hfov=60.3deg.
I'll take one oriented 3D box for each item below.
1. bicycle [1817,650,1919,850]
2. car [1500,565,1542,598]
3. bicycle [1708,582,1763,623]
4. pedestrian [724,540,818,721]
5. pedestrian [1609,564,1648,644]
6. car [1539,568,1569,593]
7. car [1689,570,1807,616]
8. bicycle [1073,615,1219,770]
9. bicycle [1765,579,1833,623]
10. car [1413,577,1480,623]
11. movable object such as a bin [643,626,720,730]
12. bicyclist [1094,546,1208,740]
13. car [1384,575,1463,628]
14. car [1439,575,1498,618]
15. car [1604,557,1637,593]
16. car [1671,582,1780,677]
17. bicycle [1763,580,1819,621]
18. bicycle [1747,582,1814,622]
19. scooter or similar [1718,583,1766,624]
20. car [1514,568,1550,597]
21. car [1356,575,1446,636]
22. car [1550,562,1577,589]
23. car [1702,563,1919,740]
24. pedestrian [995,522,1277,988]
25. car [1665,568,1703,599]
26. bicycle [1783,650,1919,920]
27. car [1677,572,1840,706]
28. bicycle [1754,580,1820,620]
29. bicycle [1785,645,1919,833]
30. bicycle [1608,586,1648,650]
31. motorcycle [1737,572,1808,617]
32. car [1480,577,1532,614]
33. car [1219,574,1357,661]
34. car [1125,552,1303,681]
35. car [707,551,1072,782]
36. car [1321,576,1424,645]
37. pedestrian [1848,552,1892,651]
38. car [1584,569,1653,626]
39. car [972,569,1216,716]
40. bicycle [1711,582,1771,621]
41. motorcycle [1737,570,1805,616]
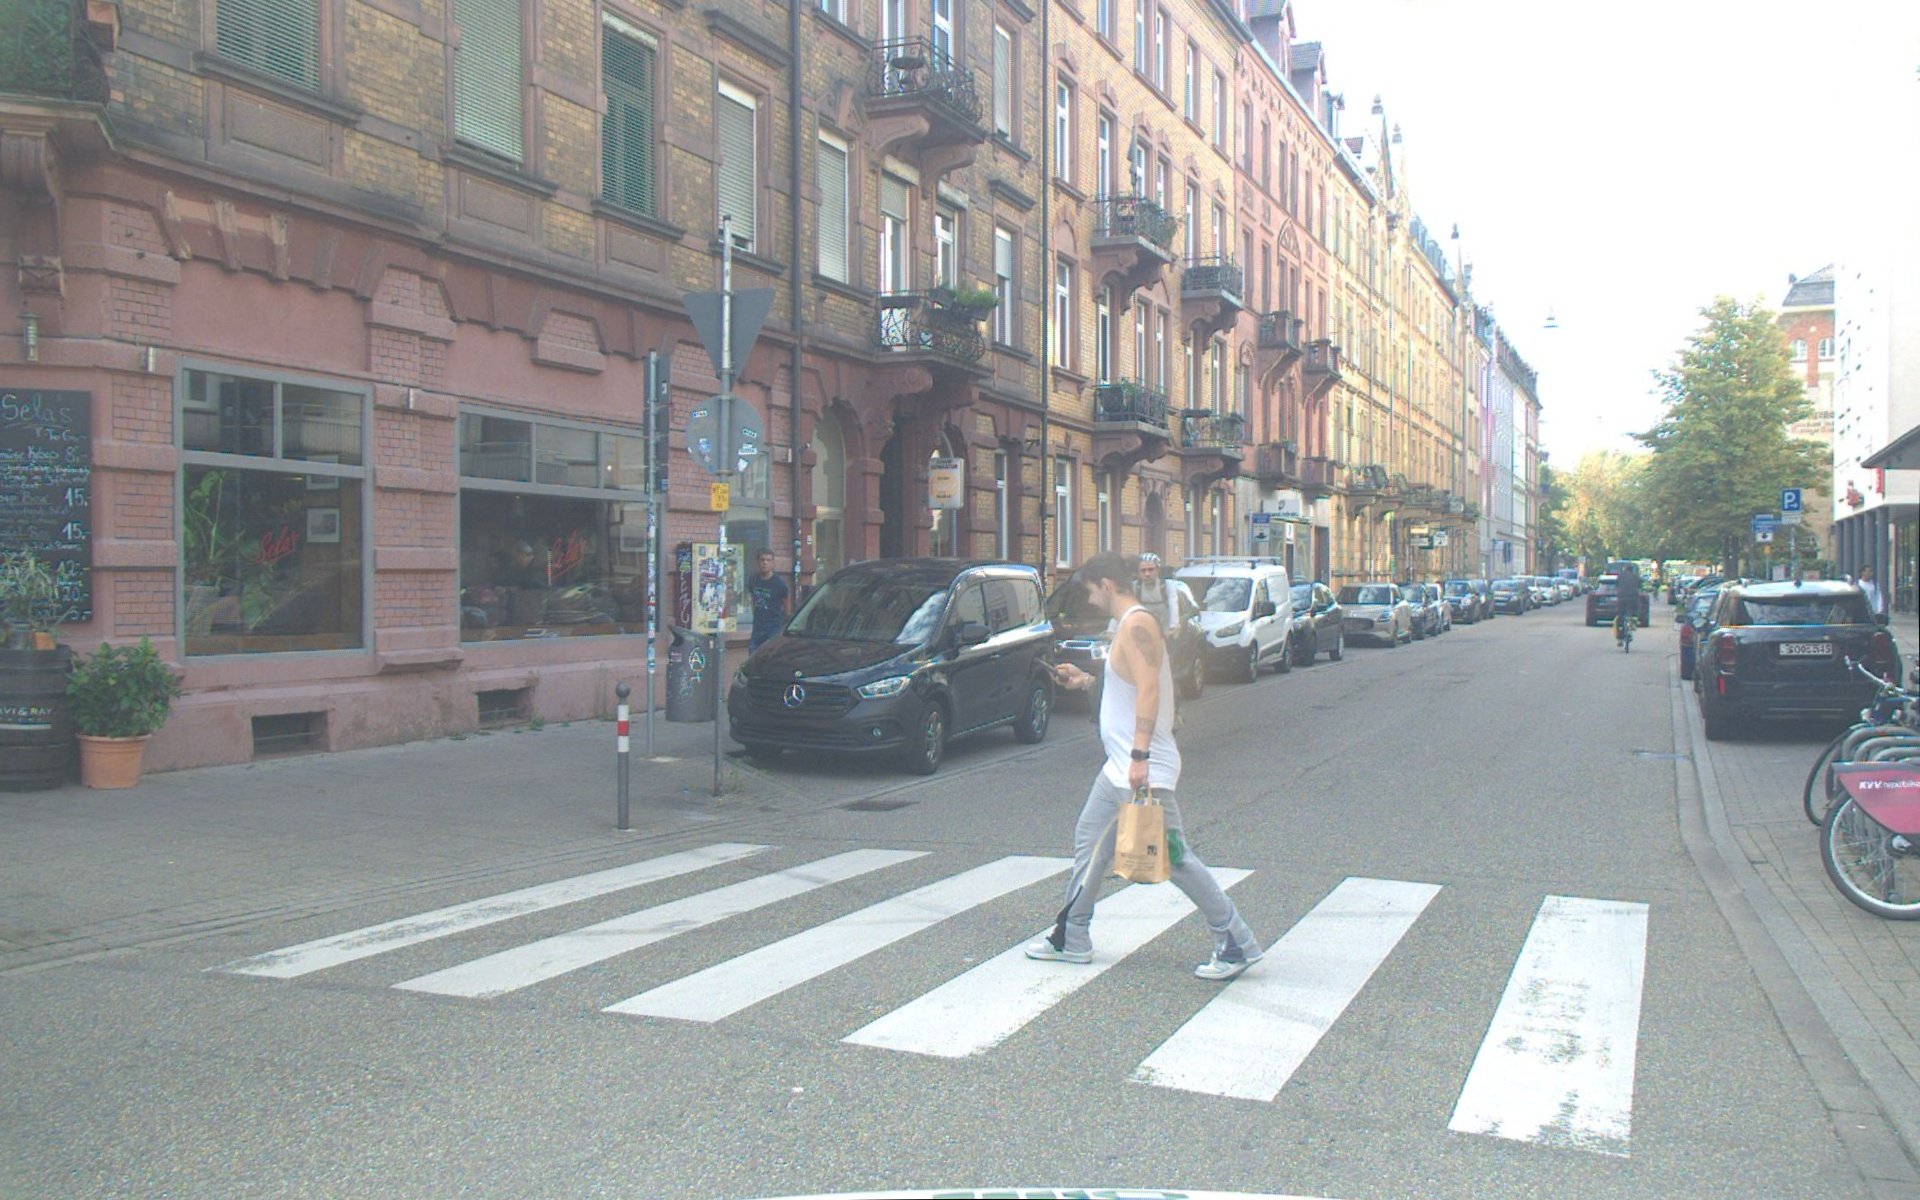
[{"bbox_3d":[5.953,0.833,9.459,1.750,1.089,0.569,-2,1,14],"label":"bicycle"},{"bbox_3d":[28.185,-0.911,83.024,1.656,1.577,3.866,2,1,23],"label":"car"},{"bbox_3d":[23.722,0.073,50.610,1.464,1.166,0.411,-2,0,19],"label":"bicycle"},{"bbox_3d":[-2.022,0.308,17.738,0.662,1.872,0.858,2,2,18],"label":"pedestrian"},{"bbox_3d":[14.324,0.068,35.440,0.704,1.678,0.930,1,1,24],"label":"pedestrian"},{"bbox_3d":[38.843,-1.294,108.152,1.656,1.577,3.866,1,1,23],"label":"car"},{"bbox_3d":[29.521,-0.264,62.043,3.680,1.573,1.732,-2,-1,14],"label":"car"},{"bbox_3d":[1.728,0.801,15.052,0.686,1.241,2.116,-2,1,24],"label":"bicycle"},{"bbox_3d":[24.500,0.029,48.317,1.731,1.182,0.649,-2,0,26],"label":"bicycle"},{"bbox_3d":[16.721,-0.027,56.742,1.656,1.410,3.865,2,2,24],"label":"car"},{"bbox_3d":[-2.043,0.564,12.166,0.375,0.726,0.476,1,1,19],"label":"movable object such as a bin"},{"bbox_3d":[1.766,0.376,15.166,0.686,1.707,1.112,-2,0,24],"label":"bicyclist"},{"bbox_3d":[13.691,0.019,48.762,1.656,1.410,3.865,2,2,24],"label":"car"},{"bbox_3d":[19.241,-0.154,62.483,1.656,1.462,3.865,2,2,24],"label":"car"},{"bbox_3d":[39.186,-1.475,98.045,1.746,2.055,3.887,1,2,22],"label":"car"},{"bbox_3d":[12.999,0.451,28.160,1.563,1.464,4.028,-1,1,24],"label":"car"},{"bbox_3d":[25.136,0.013,50.037,1.465,1.166,0.411,-2,0,24],"label":"bicycle"},{"bbox_3d":[24.523,0.066,49.454,1.731,1.106,0.649,-2,0,26],"label":"bicycle"},{"bbox_3d":[23.040,0.116,48.746,0.374,1.167,1.195,-4,1,-34],"label":"scooter or similar"},{"bbox_3d":[32.701,-0.988,94.481,1.656,1.577,3.866,1,1,23],"label":"car"},{"bbox_3d":[11.972,0.106,44.792,1.707,1.509,3.982,2,2,24],"label":"car"},{"bbox_3d":[44.957,-1.822,123.244,1.656,1.852,3.866,3,2,23],"label":"car"},{"bbox_3d":[8.907,0.474,17.585,1.756,1.633,3.922,-3,0,24],"label":"car"},{"bbox_3d":[0.720,0.567,6.554,0.997,1.700,0.805,0,0,15],"label":"pedestrian"},{"bbox_3d":[40.791,-0.926,93.163,1.891,1.666,3.999,1,2,24],"label":"car"},{"bbox_3d":[4.845,0.809,7.533,1.844,1.145,0.907,-3,0,22],"label":"bicycle"},{"bbox_3d":[10.474,0.456,21.916,1.653,1.604,3.902,-1,0,22],"label":"car"},{"bbox_3d":[25.275,0.000,50.565,1.728,1.166,0.411,-2,0,18],"label":"bicycle"},{"bbox_3d":[6.088,0.829,10.112,1.750,1.089,0.587,-2,1,14],"label":"bicycle"},{"bbox_3d":[14.329,0.369,35.432,0.704,1.296,1.883,1,2,24],"label":"bicycle"},{"bbox_3d":[27.964,-0.187,56.923,2.109,1.460,0.764,-2,0,28],"label":"motorcycle"},{"bbox_3d":[23.635,-0.203,71.493,1.657,1.392,3.865,5,3,24],"label":"car"},{"bbox_3d":[6.346,0.310,31.657,1.707,1.509,3.981,2,0,24],"label":"car"},{"bbox_3d":[4.231,0.199,26.950,1.880,1.904,4.436,0,1,22],"label":"car"},{"bbox_3d":[-0.476,0.486,15.516,1.724,1.804,4.405,2,1,22],"label":"car"},{"bbox_3d":[10.069,0.211,40.201,1.707,1.509,3.982,2,2,24],"label":"car"},{"bbox_3d":[16.547,0.015,30.088,0.599,1.756,1.126,-1,1,24],"label":"pedestrian"},{"bbox_3d":[21.499,-0.121,53.912,1.925,1.771,4.040,1,1,24],"label":"car"},{"bbox_3d":[1.834,0.446,21.207,1.953,1.666,4.145,1,1,22],"label":"car"},{"bbox_3d":[25.662,0.051,54.350,1.759,1.179,0.500,-2,0,27],"label":"bicycle"},{"bbox_3d":[29.256,-0.244,59.664,2.109,1.557,0.685,-2,0,28],"label":"motorcycle"}]
